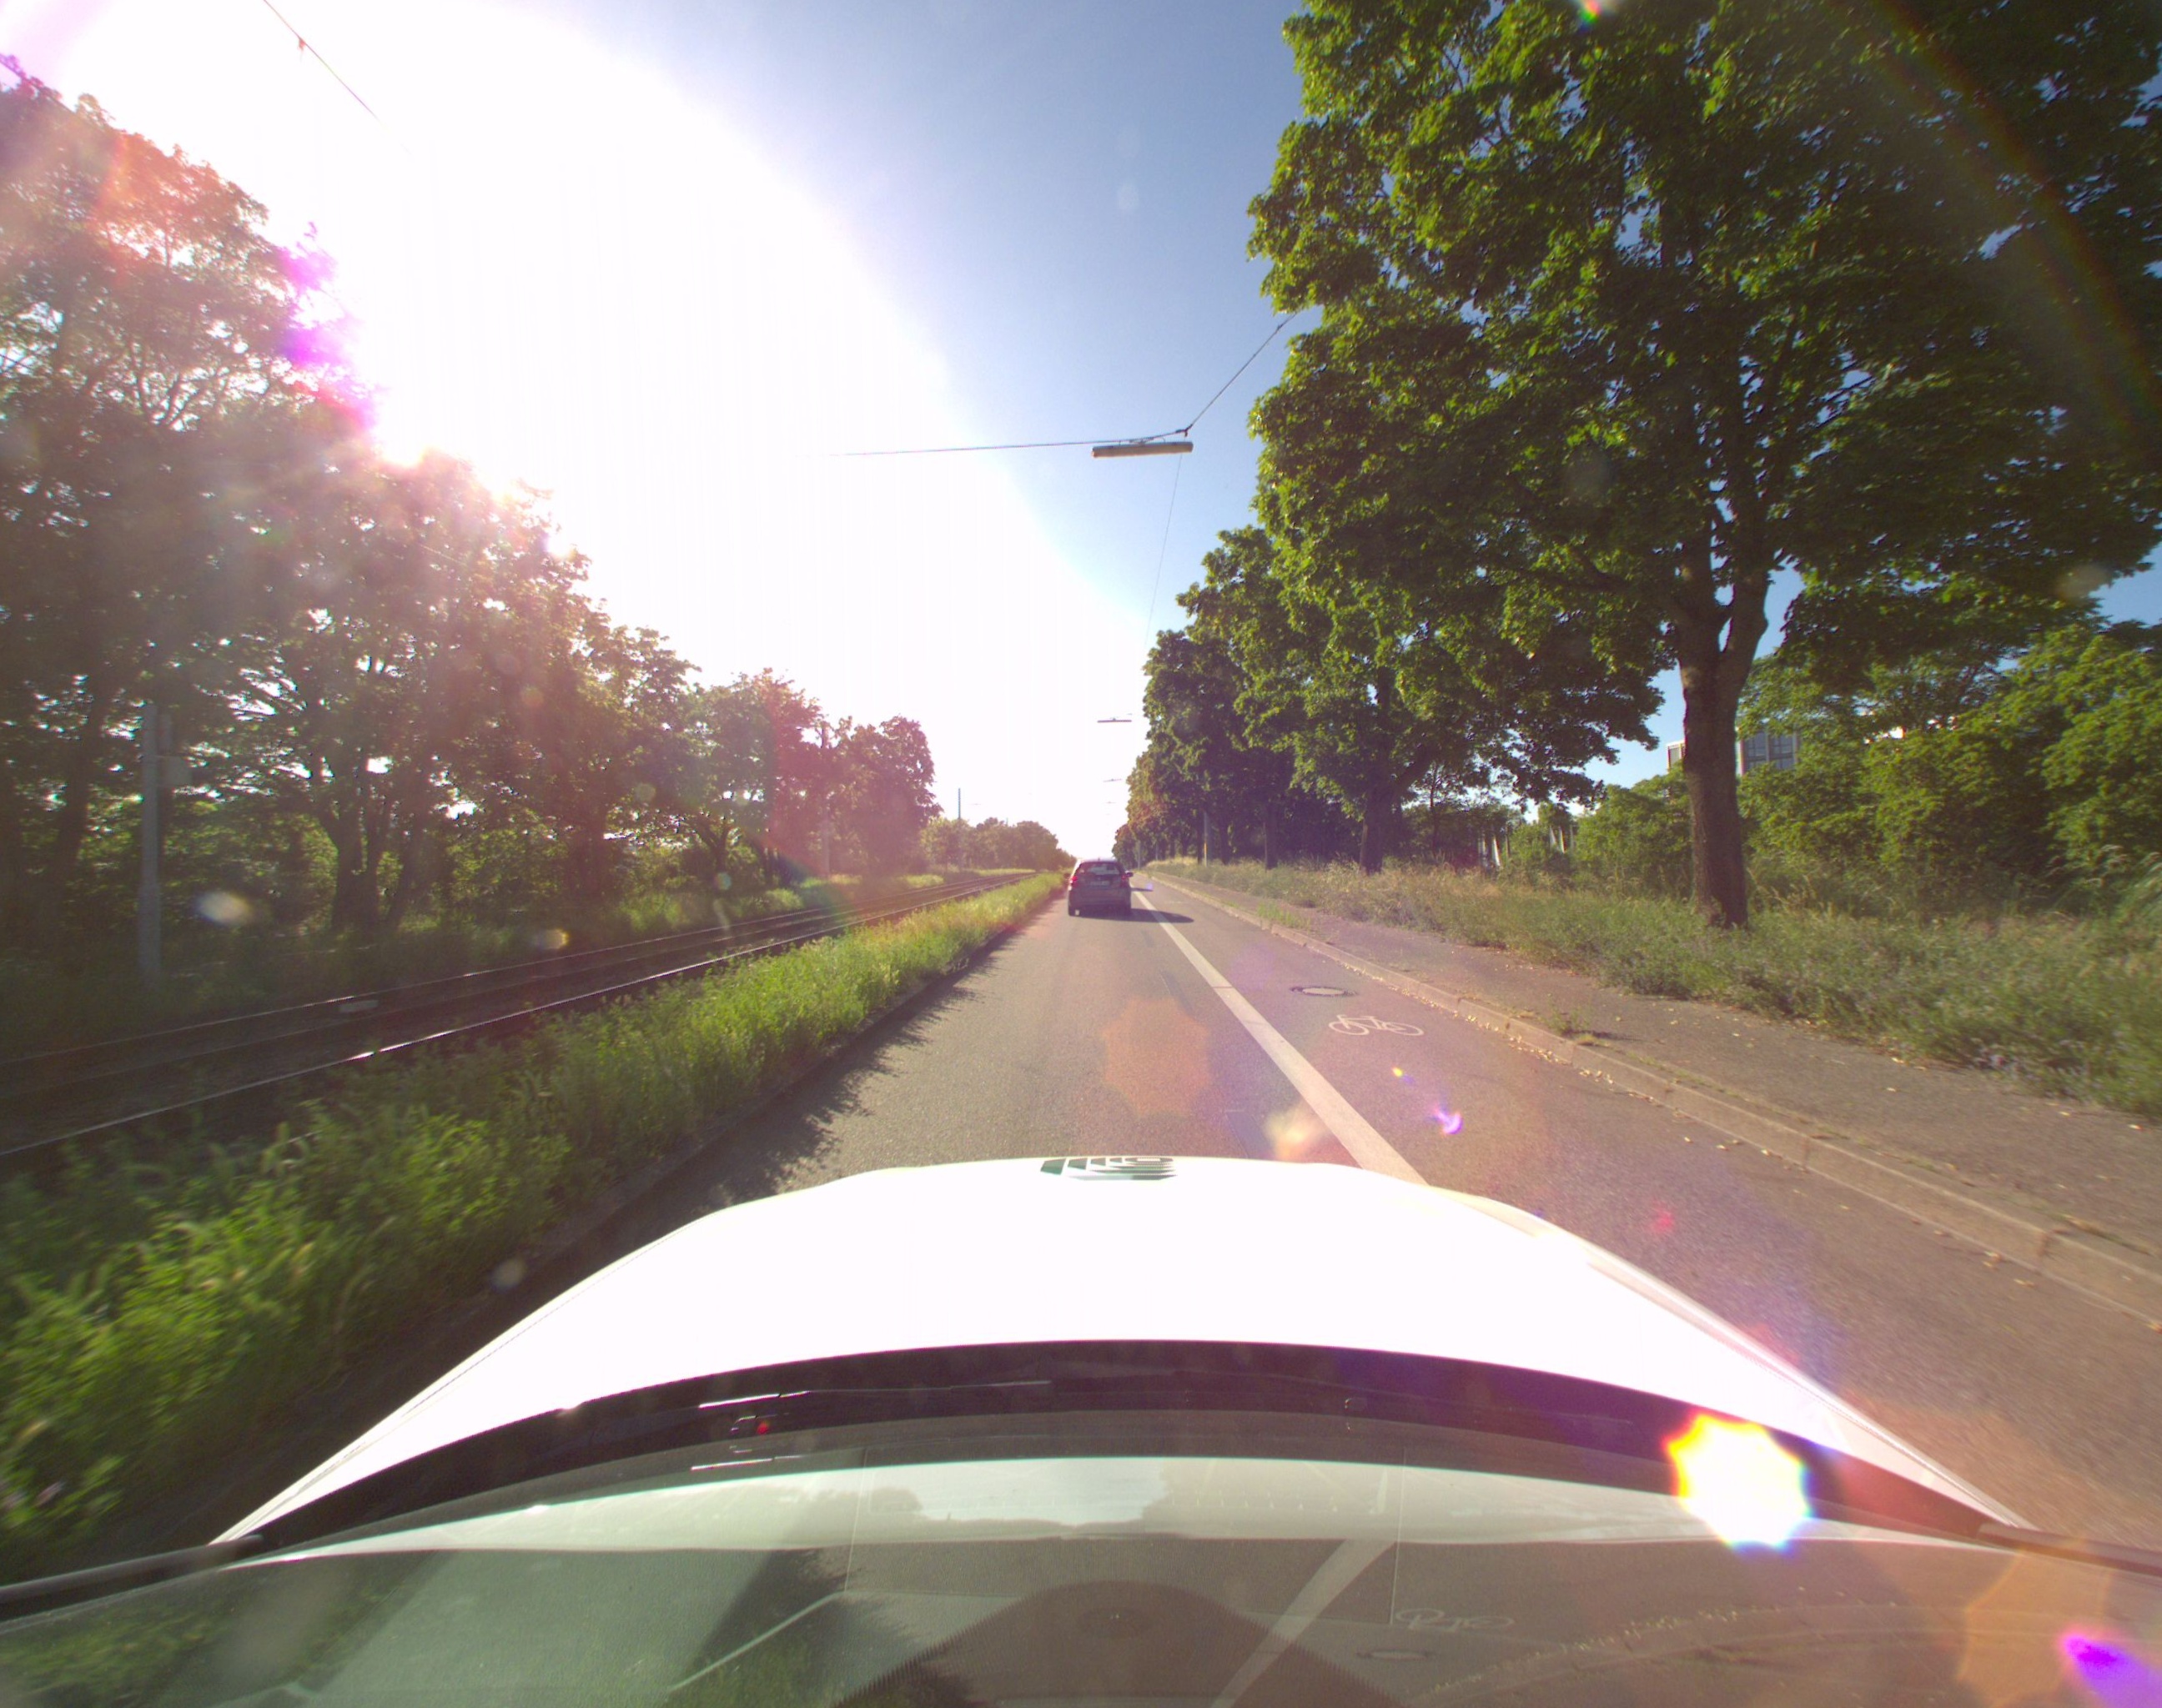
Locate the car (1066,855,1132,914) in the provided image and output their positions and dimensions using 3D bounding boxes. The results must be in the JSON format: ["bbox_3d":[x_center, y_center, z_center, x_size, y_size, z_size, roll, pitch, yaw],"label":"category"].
[{"bbox_3d":[0.536,0.783,22.687,1.663,1.507,3.813,0,0,2],"label":"car"}]

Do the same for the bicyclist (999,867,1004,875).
[{"bbox_3d":[-12.636,2.715,129.697,0.580,1.310,0.988,0,-1,2],"label":"bicyclist"}]

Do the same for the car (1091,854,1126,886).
[{"bbox_3d":[1.382,0.749,40.088,1.648,1.507,3.813,0,0,2],"label":"car"}]
